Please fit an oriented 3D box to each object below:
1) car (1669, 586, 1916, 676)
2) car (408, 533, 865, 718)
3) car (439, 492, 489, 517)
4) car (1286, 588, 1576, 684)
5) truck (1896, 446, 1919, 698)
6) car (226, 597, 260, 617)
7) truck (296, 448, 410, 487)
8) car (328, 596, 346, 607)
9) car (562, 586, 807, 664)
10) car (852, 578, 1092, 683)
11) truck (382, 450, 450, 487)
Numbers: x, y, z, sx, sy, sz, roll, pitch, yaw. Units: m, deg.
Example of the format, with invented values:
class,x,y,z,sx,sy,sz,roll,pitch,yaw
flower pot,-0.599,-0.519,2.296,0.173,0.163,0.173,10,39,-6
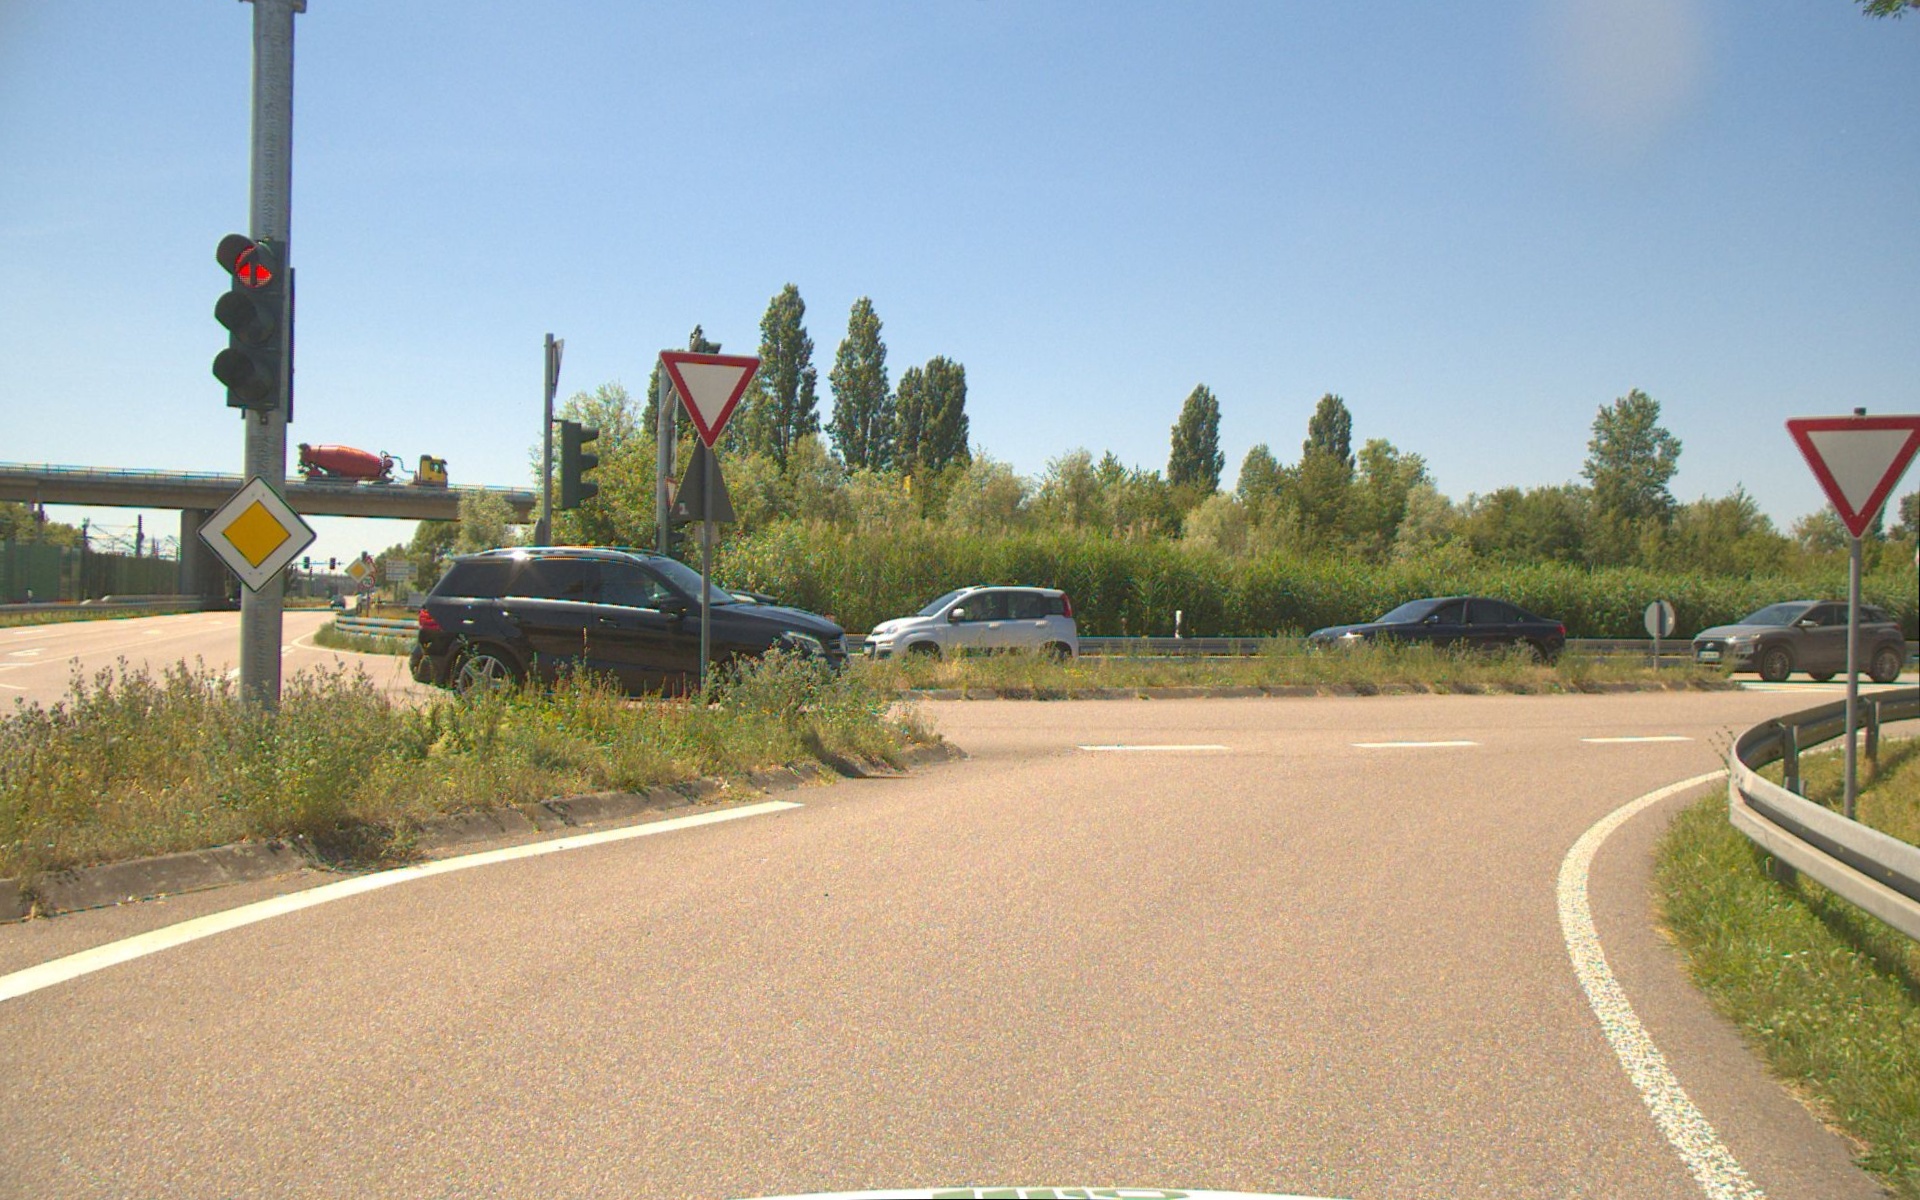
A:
class,x,y,z,sx,sy,sz,roll,pitch,yaw
car,16.210,0.574,32.240,4.157,1.660,1.925,0,0,-17
car,-3.410,0.248,18.003,4.486,1.798,1.935,1,0,4
car,-42.951,-8.263,143.162,4.112,2.049,1.990,0,0,-18
car,8.564,0.617,30.162,4.845,1.660,1.925,0,0,-16
truck,20.479,-0.430,27.264,11.703,3.888,2.818,0,0,-27
car,-54.194,0.516,125.032,1.963,1.422,4.383,0,0,-19
truck,-48.011,-10.471,131.003,8.364,2.721,1.990,0,0,-19
car,-81.271,0.188,215.881,1.963,1.422,4.383,0,0,-19
car,-5.081,0.449,31.015,4.304,1.422,1.999,0,0,-3
car,0.187,0.476,27.394,3.649,1.660,1.725,0,0,-18
truck,-43.456,-10.483,132.295,5.005,2.721,1.993,0,0,-15
